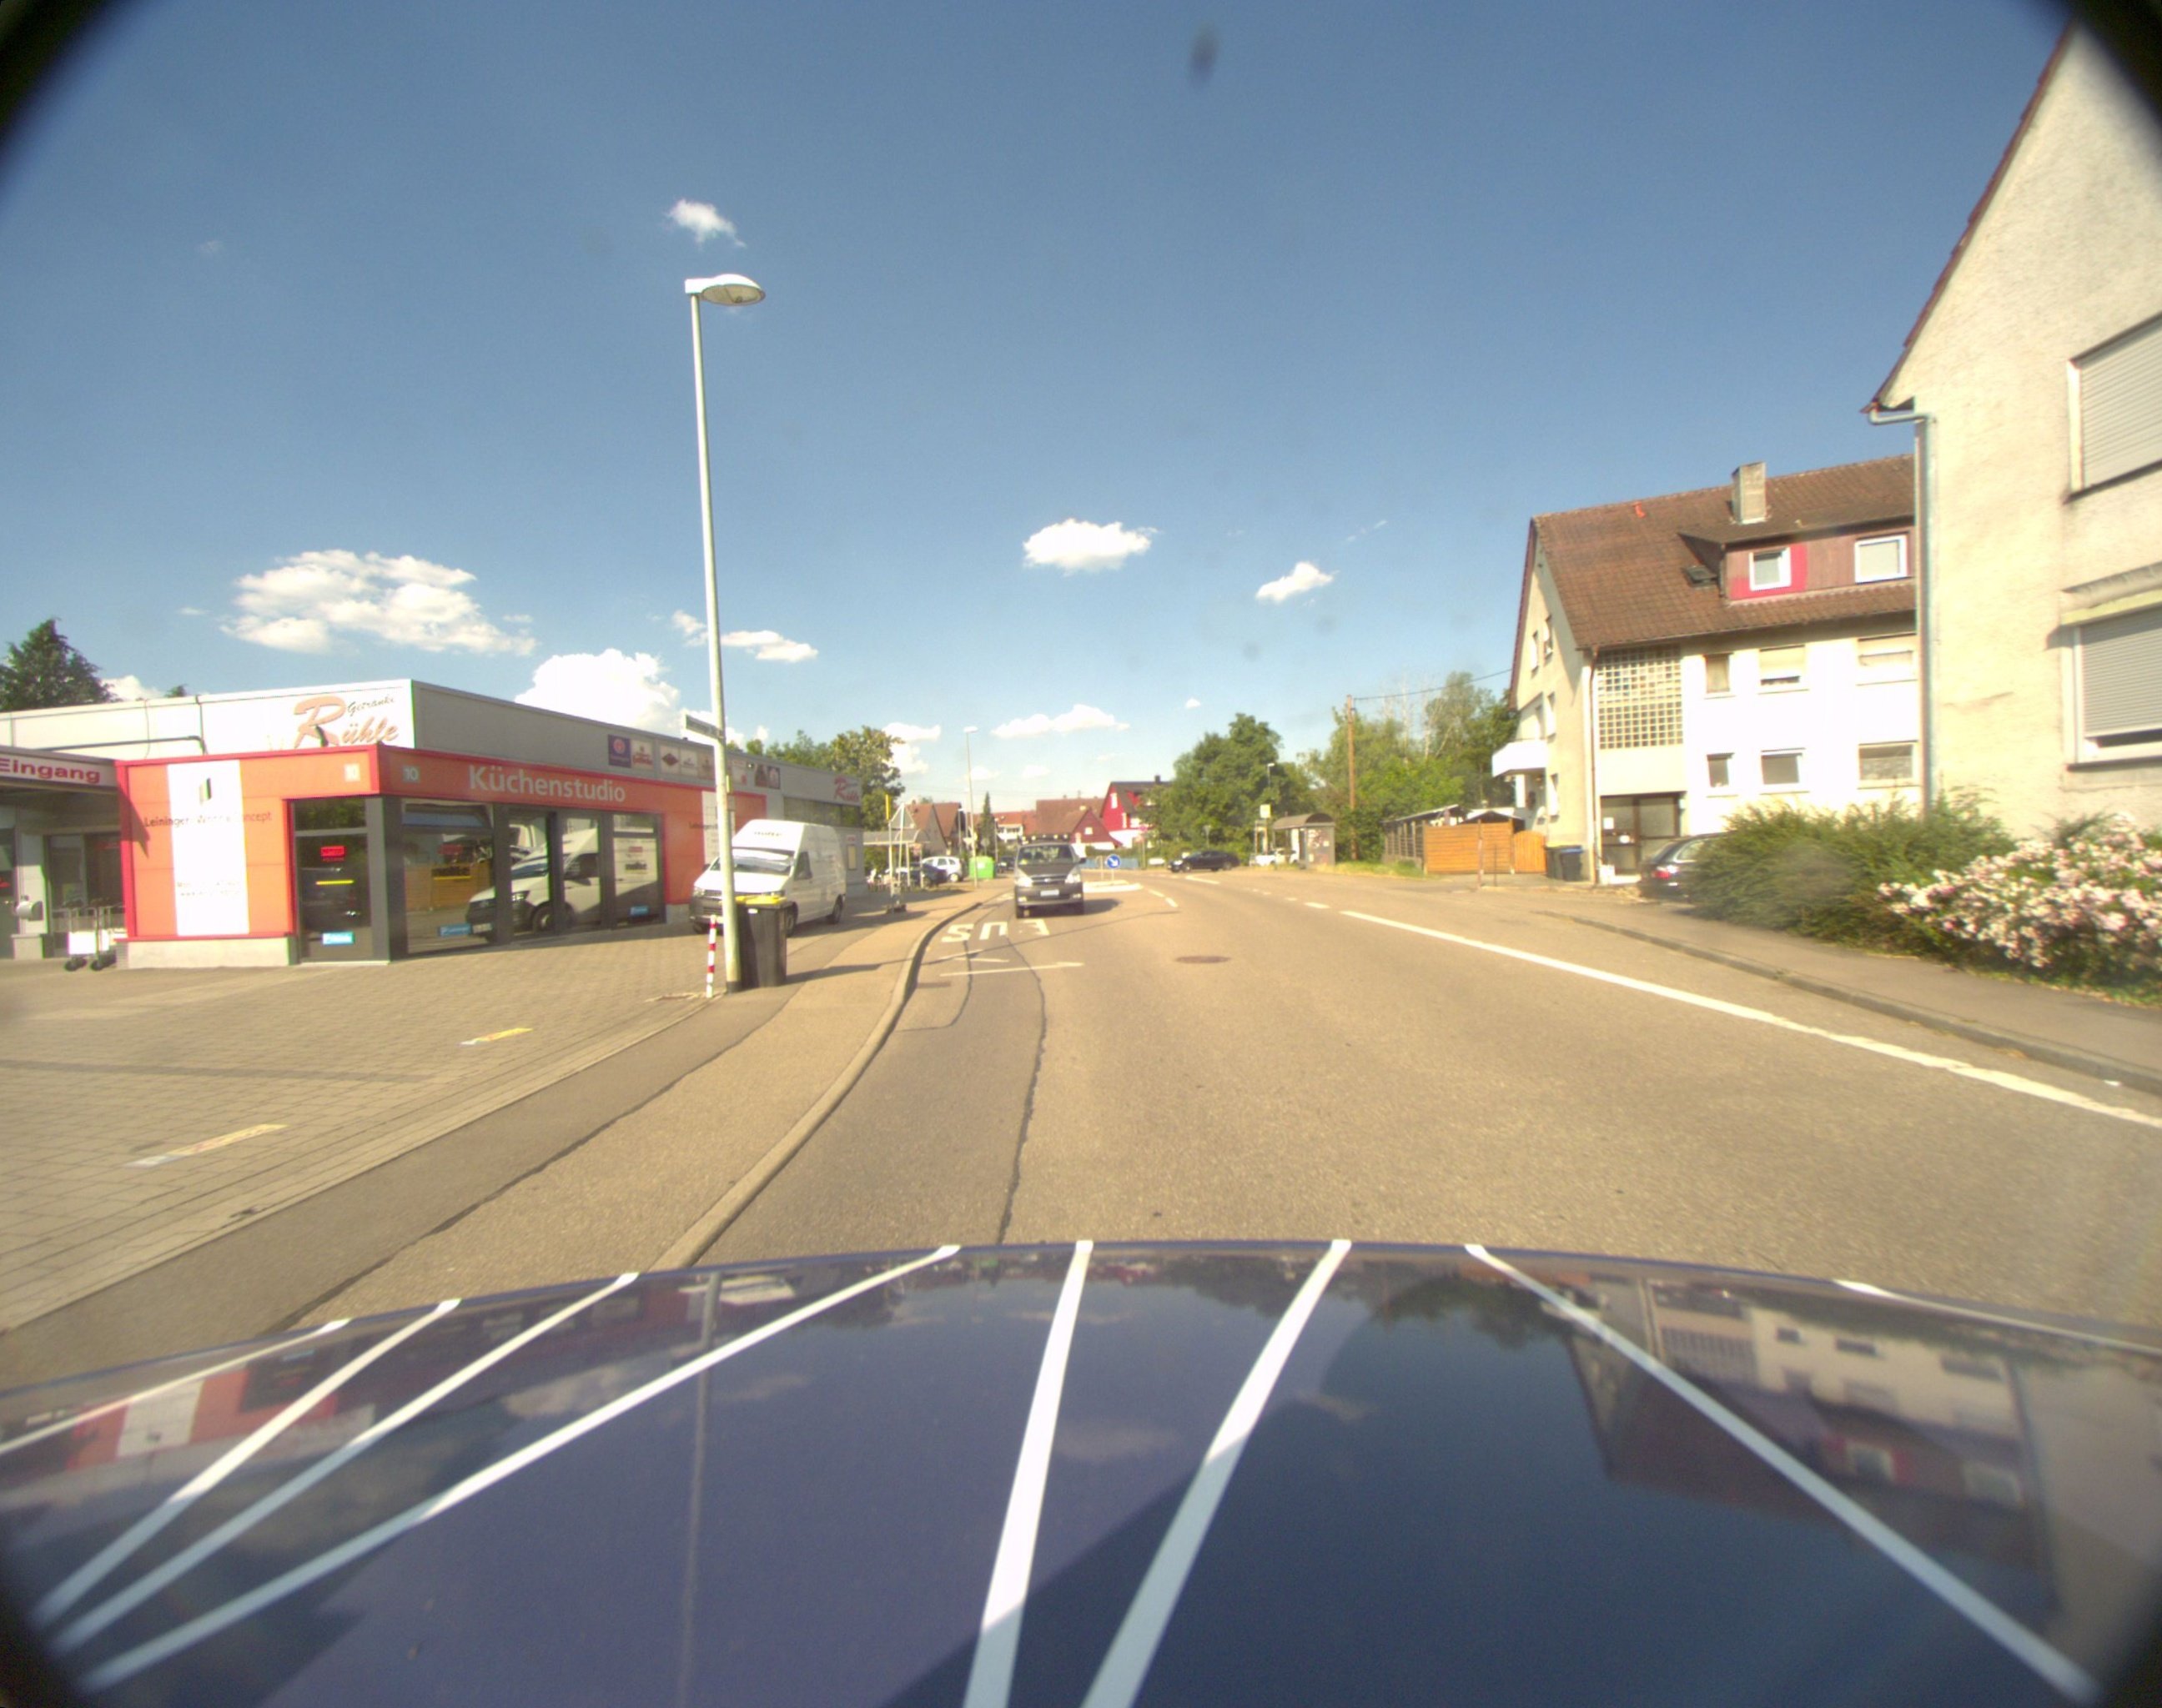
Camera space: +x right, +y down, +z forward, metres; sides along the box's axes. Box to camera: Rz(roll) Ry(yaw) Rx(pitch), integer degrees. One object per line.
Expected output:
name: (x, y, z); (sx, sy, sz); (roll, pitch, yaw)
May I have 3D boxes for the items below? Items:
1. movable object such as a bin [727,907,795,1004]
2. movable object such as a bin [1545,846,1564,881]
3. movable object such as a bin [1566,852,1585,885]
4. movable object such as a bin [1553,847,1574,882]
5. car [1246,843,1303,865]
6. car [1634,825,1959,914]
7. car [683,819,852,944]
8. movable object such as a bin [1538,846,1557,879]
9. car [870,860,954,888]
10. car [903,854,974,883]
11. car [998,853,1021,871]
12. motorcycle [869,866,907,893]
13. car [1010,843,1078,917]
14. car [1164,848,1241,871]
movable object such as a bin: (-3.821, 1.199, 9.092); (0.568, 1.069, 0.572); (-1, 0, -3)
movable object such as a bin: (14.438, 0.291, 23.167); (0.361, 1.035, 0.558); (-2, 2, 18)
movable object such as a bin: (14.243, 0.420, 21.901); (0.361, 0.920, 0.400); (-2, 2, 18)
movable object such as a bin: (14.319, 0.312, 22.547); (0.361, 1.017, 0.577); (-2, 2, 18)
car: (14.639, 0.001, 57.343); (4.283, 1.483, 1.857); (-2, 1, -36)
car: (12.657, 0.299, 13.818); (3.990, 1.425, 1.656); (-2, 0, 28)
car: (-6.771, 0.531, 17.098); (1.841, 2.361, 5.177); (1, 0, -3)
movable object such as a bin: (14.617, 0.268, 23.792); (0.361, 1.010, 0.558); (-2, 2, 18)
car: (-8.990, 1.044, 40.547); (4.073, 1.408, 1.626); (-1, 1, 4)
car: (-8.656, 0.866, 46.301); (3.949, 1.594, 1.682); (-2, 1, 1)
car: (-6.991, 0.749, 73.943); (1.974, 1.646, 3.997); (0, 0, -8)
motorcycle: (-9.732, 1.281, 38.373); (1.832, 1.316, 0.639); (0, 0, -16)
car: (-1.113, 0.704, 23.083); (1.820, 1.988, 4.819); (-1, 0, -3)
car: (8.199, 0.354, 51.269); (4.849, 1.423, 1.768); (-2, 1, -21)
